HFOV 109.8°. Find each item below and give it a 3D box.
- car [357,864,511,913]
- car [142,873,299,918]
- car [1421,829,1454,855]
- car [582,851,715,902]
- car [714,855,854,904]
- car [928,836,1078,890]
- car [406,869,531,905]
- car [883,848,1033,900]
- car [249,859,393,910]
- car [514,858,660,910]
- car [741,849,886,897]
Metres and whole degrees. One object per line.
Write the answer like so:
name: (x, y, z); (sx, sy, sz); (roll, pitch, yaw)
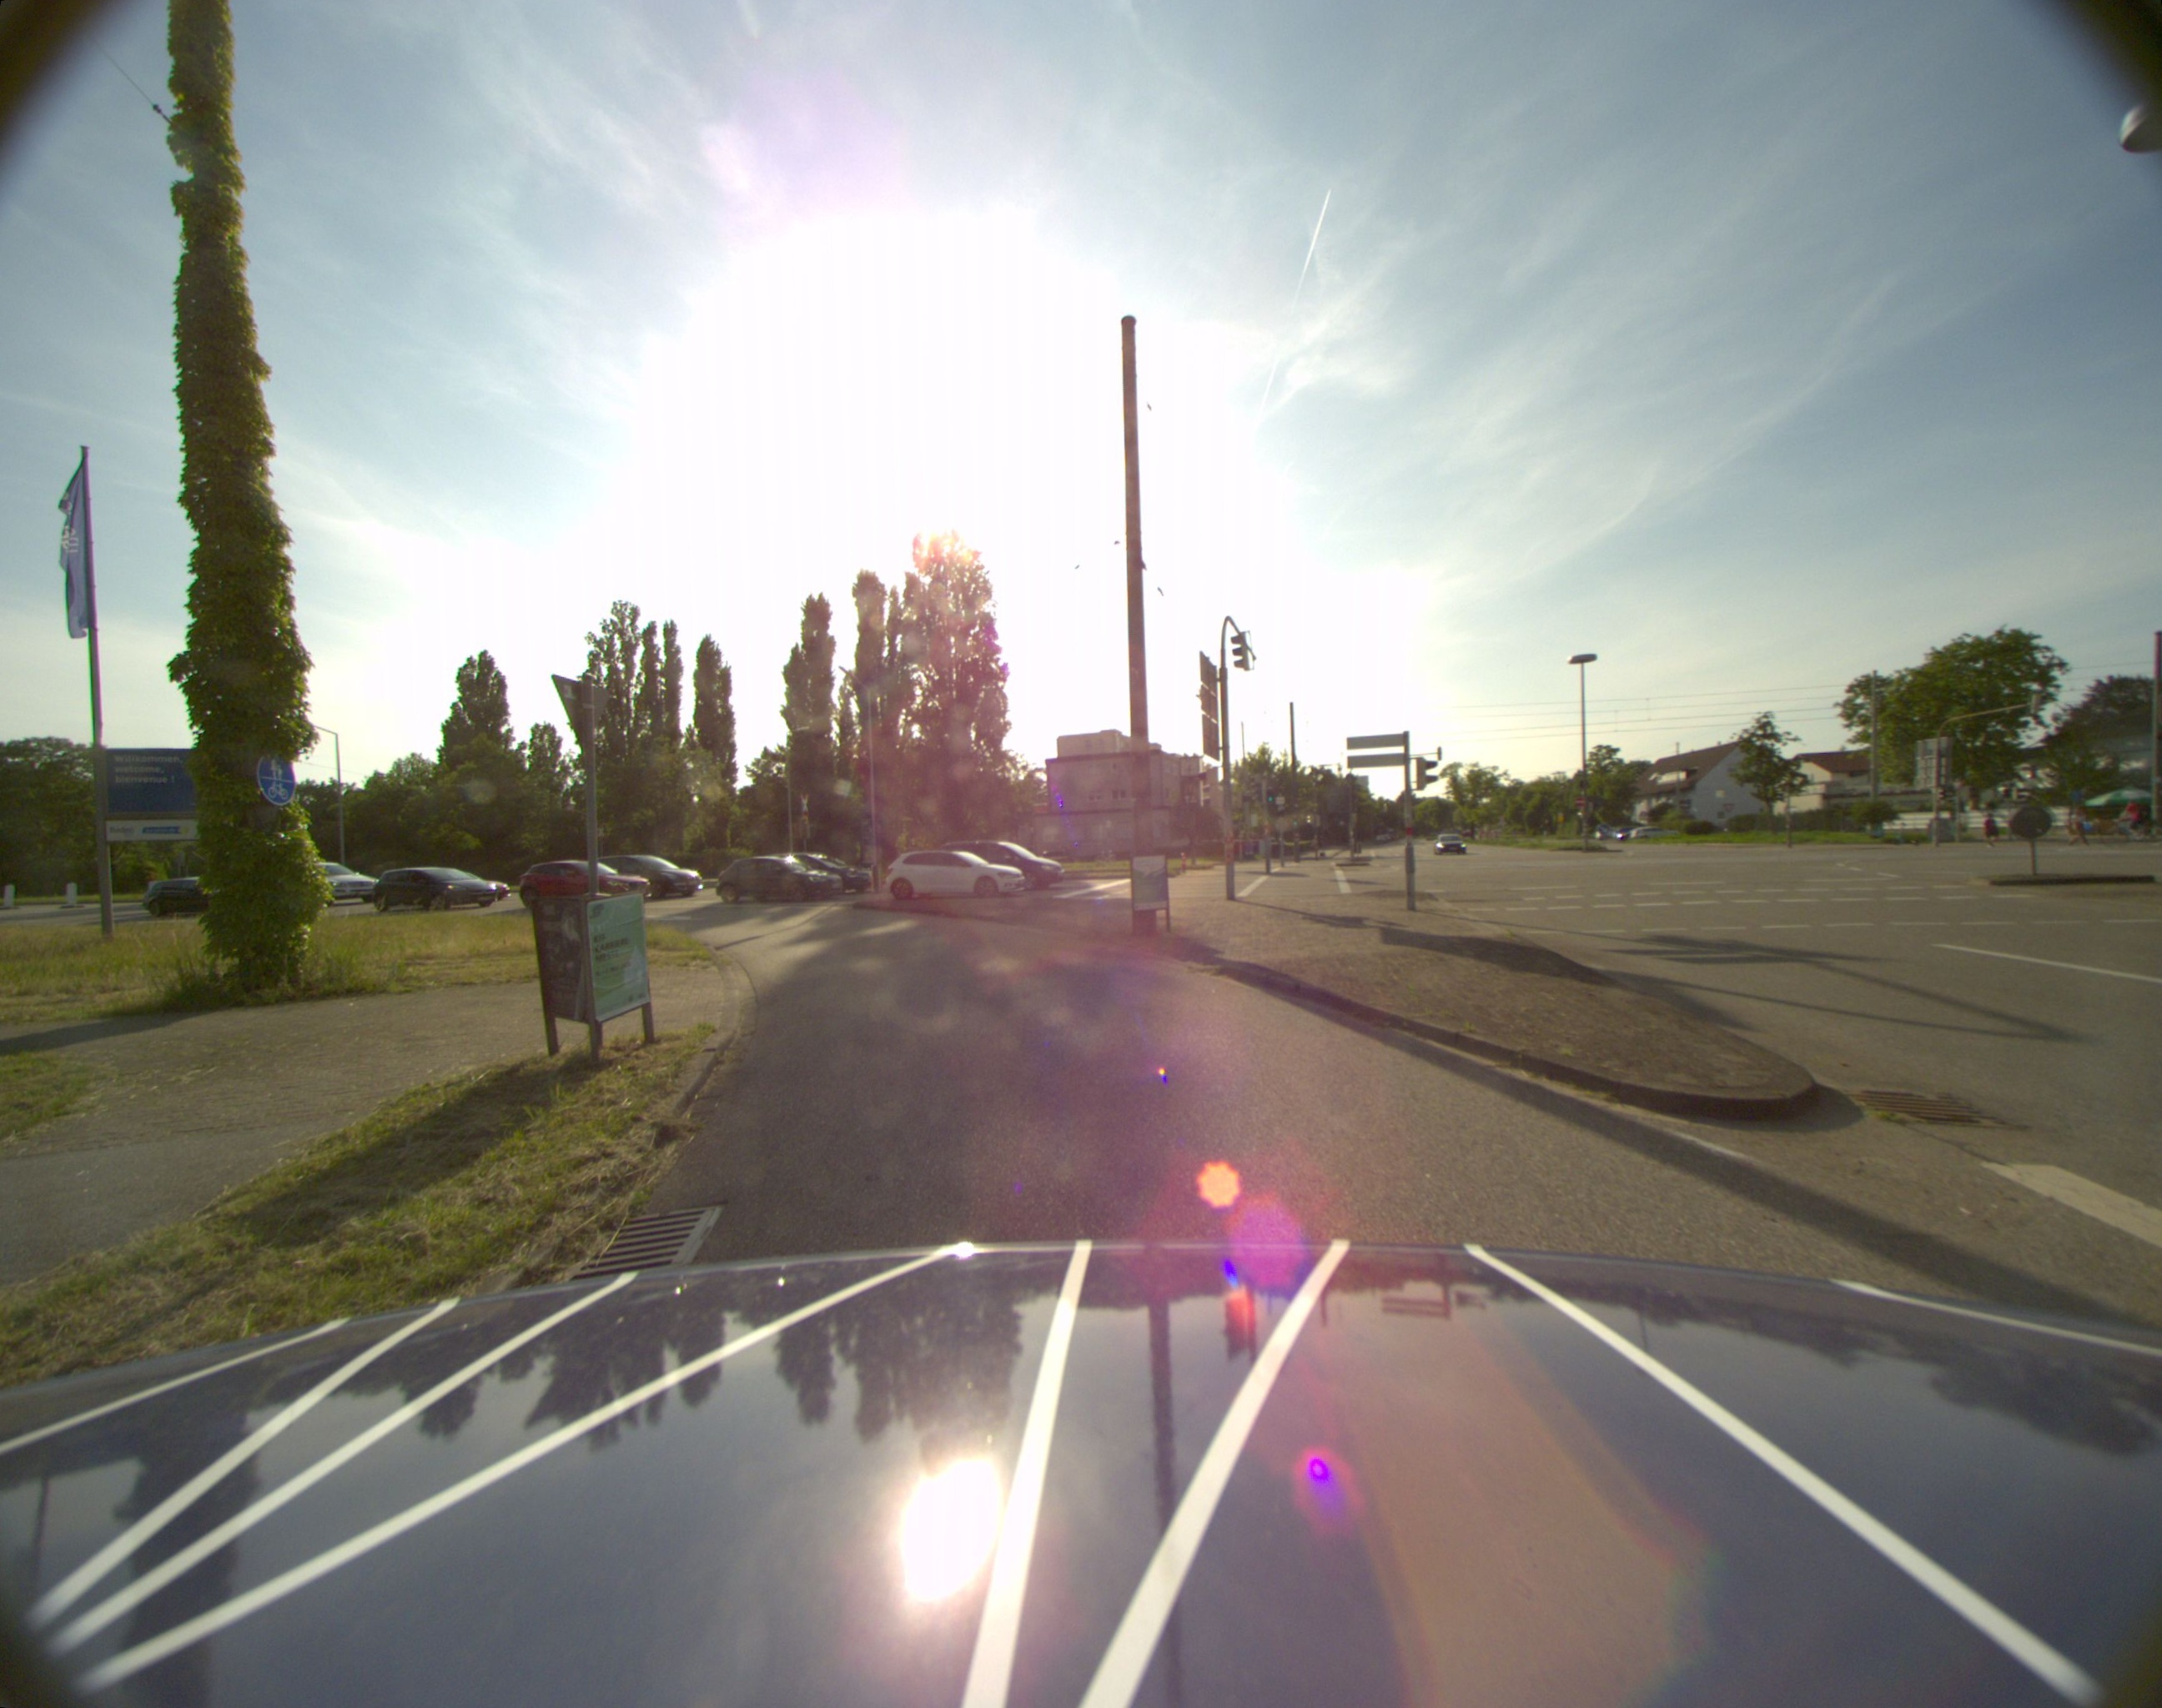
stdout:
car: (-22.694, 1.195, 26.706); (4.216, 1.497, 1.748); (-2, 1, 10)
car: (-32.381, 1.553, 28.627); (4.348, 1.378, 1.903); (-2, 3, 12)
car: (25.724, -0.897, 54.979); (1.517, 1.783, 4.004); (-2, 1, 16)
car: (-16.047, 0.817, 28.233); (4.077, 1.661, 1.770); (-2, 2, 12)
car: (-9.358, 0.786, 24.032); (3.820, 1.389, 1.649); (-2, 1, 14)
car: (-2.608, 0.298, 25.436); (4.734, 1.642, 1.513); (-2, 1, 17)
car: (-24.174, 1.295, 30.021); (3.840, 1.200, 1.737); (-2, 3, 13)
car: (-3.574, 0.574, 22.391); (4.007, 1.435, 1.663); (-1, 1, 12)
car: (-31.404, 1.261, 31.450); (4.349, 1.814, 1.903); (-2, 3, 10)
car: (-16.442, 0.976, 25.346); (3.971, 1.543, 1.713); (-2, 1, 12)
car: (-9.454, 0.666, 26.938); (4.545, 1.499, 1.706); (-2, 2, 13)
